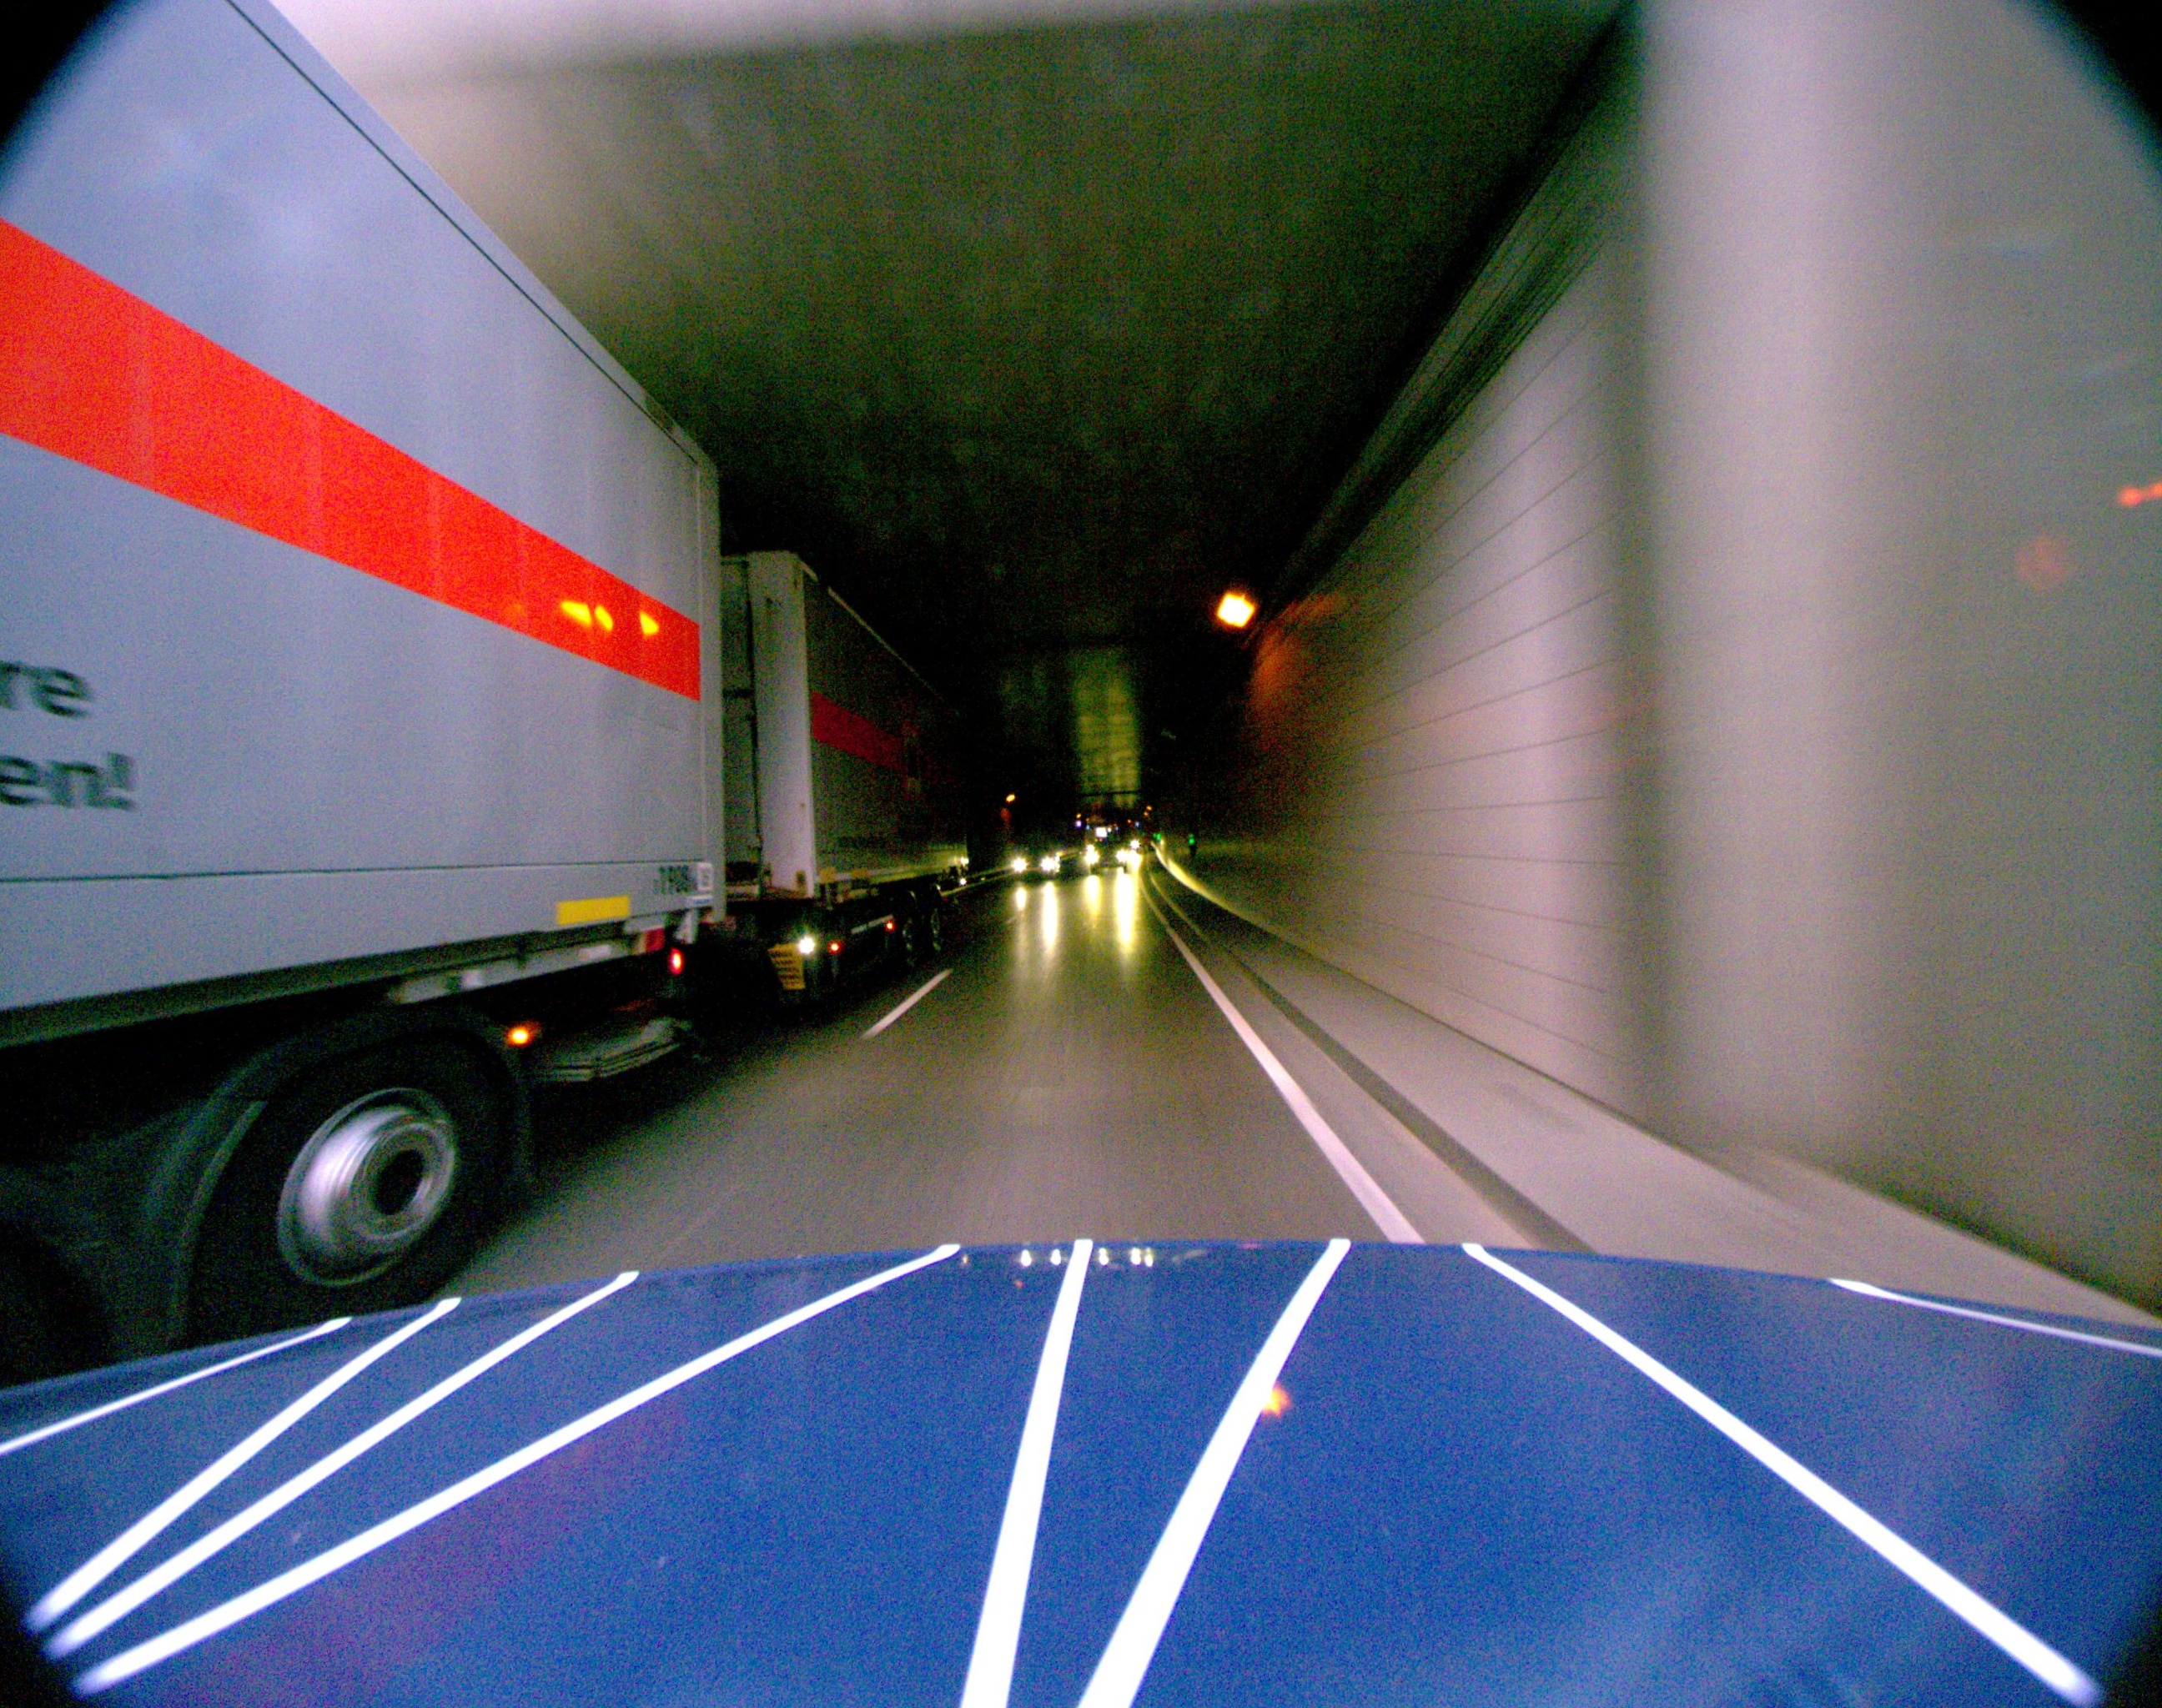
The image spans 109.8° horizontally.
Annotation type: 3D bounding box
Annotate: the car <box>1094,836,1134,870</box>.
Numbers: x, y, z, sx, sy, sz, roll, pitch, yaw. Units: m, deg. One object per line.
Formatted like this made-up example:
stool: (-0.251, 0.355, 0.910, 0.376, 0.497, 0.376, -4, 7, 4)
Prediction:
car: (1.750, -0.096, 39.000, 1.819, 1.590, 4.001, -3, 1, 5)

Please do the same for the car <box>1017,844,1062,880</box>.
car: (-1.834, 0.319, 34.945, 1.735, 1.395, 3.798, -4, 1, 1)

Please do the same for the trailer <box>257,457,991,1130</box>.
trailer: (-3.259, -0.391, 9.022, 2.882, 3.836, 8.947, -4, 1, 1)

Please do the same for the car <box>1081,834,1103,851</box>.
car: (1.137, -1.255, 78.848, 1.735, 1.565, 4.001, -5, 1, 7)

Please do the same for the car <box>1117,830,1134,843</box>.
car: (6.029, -2.340, 102.757, 1.998, 1.576, 4.652, -4, 1, 6)

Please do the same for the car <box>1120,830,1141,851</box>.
car: (4.714, -1.347, 71.812, 1.714, 1.729, 4.000, -4, 3, 6)
